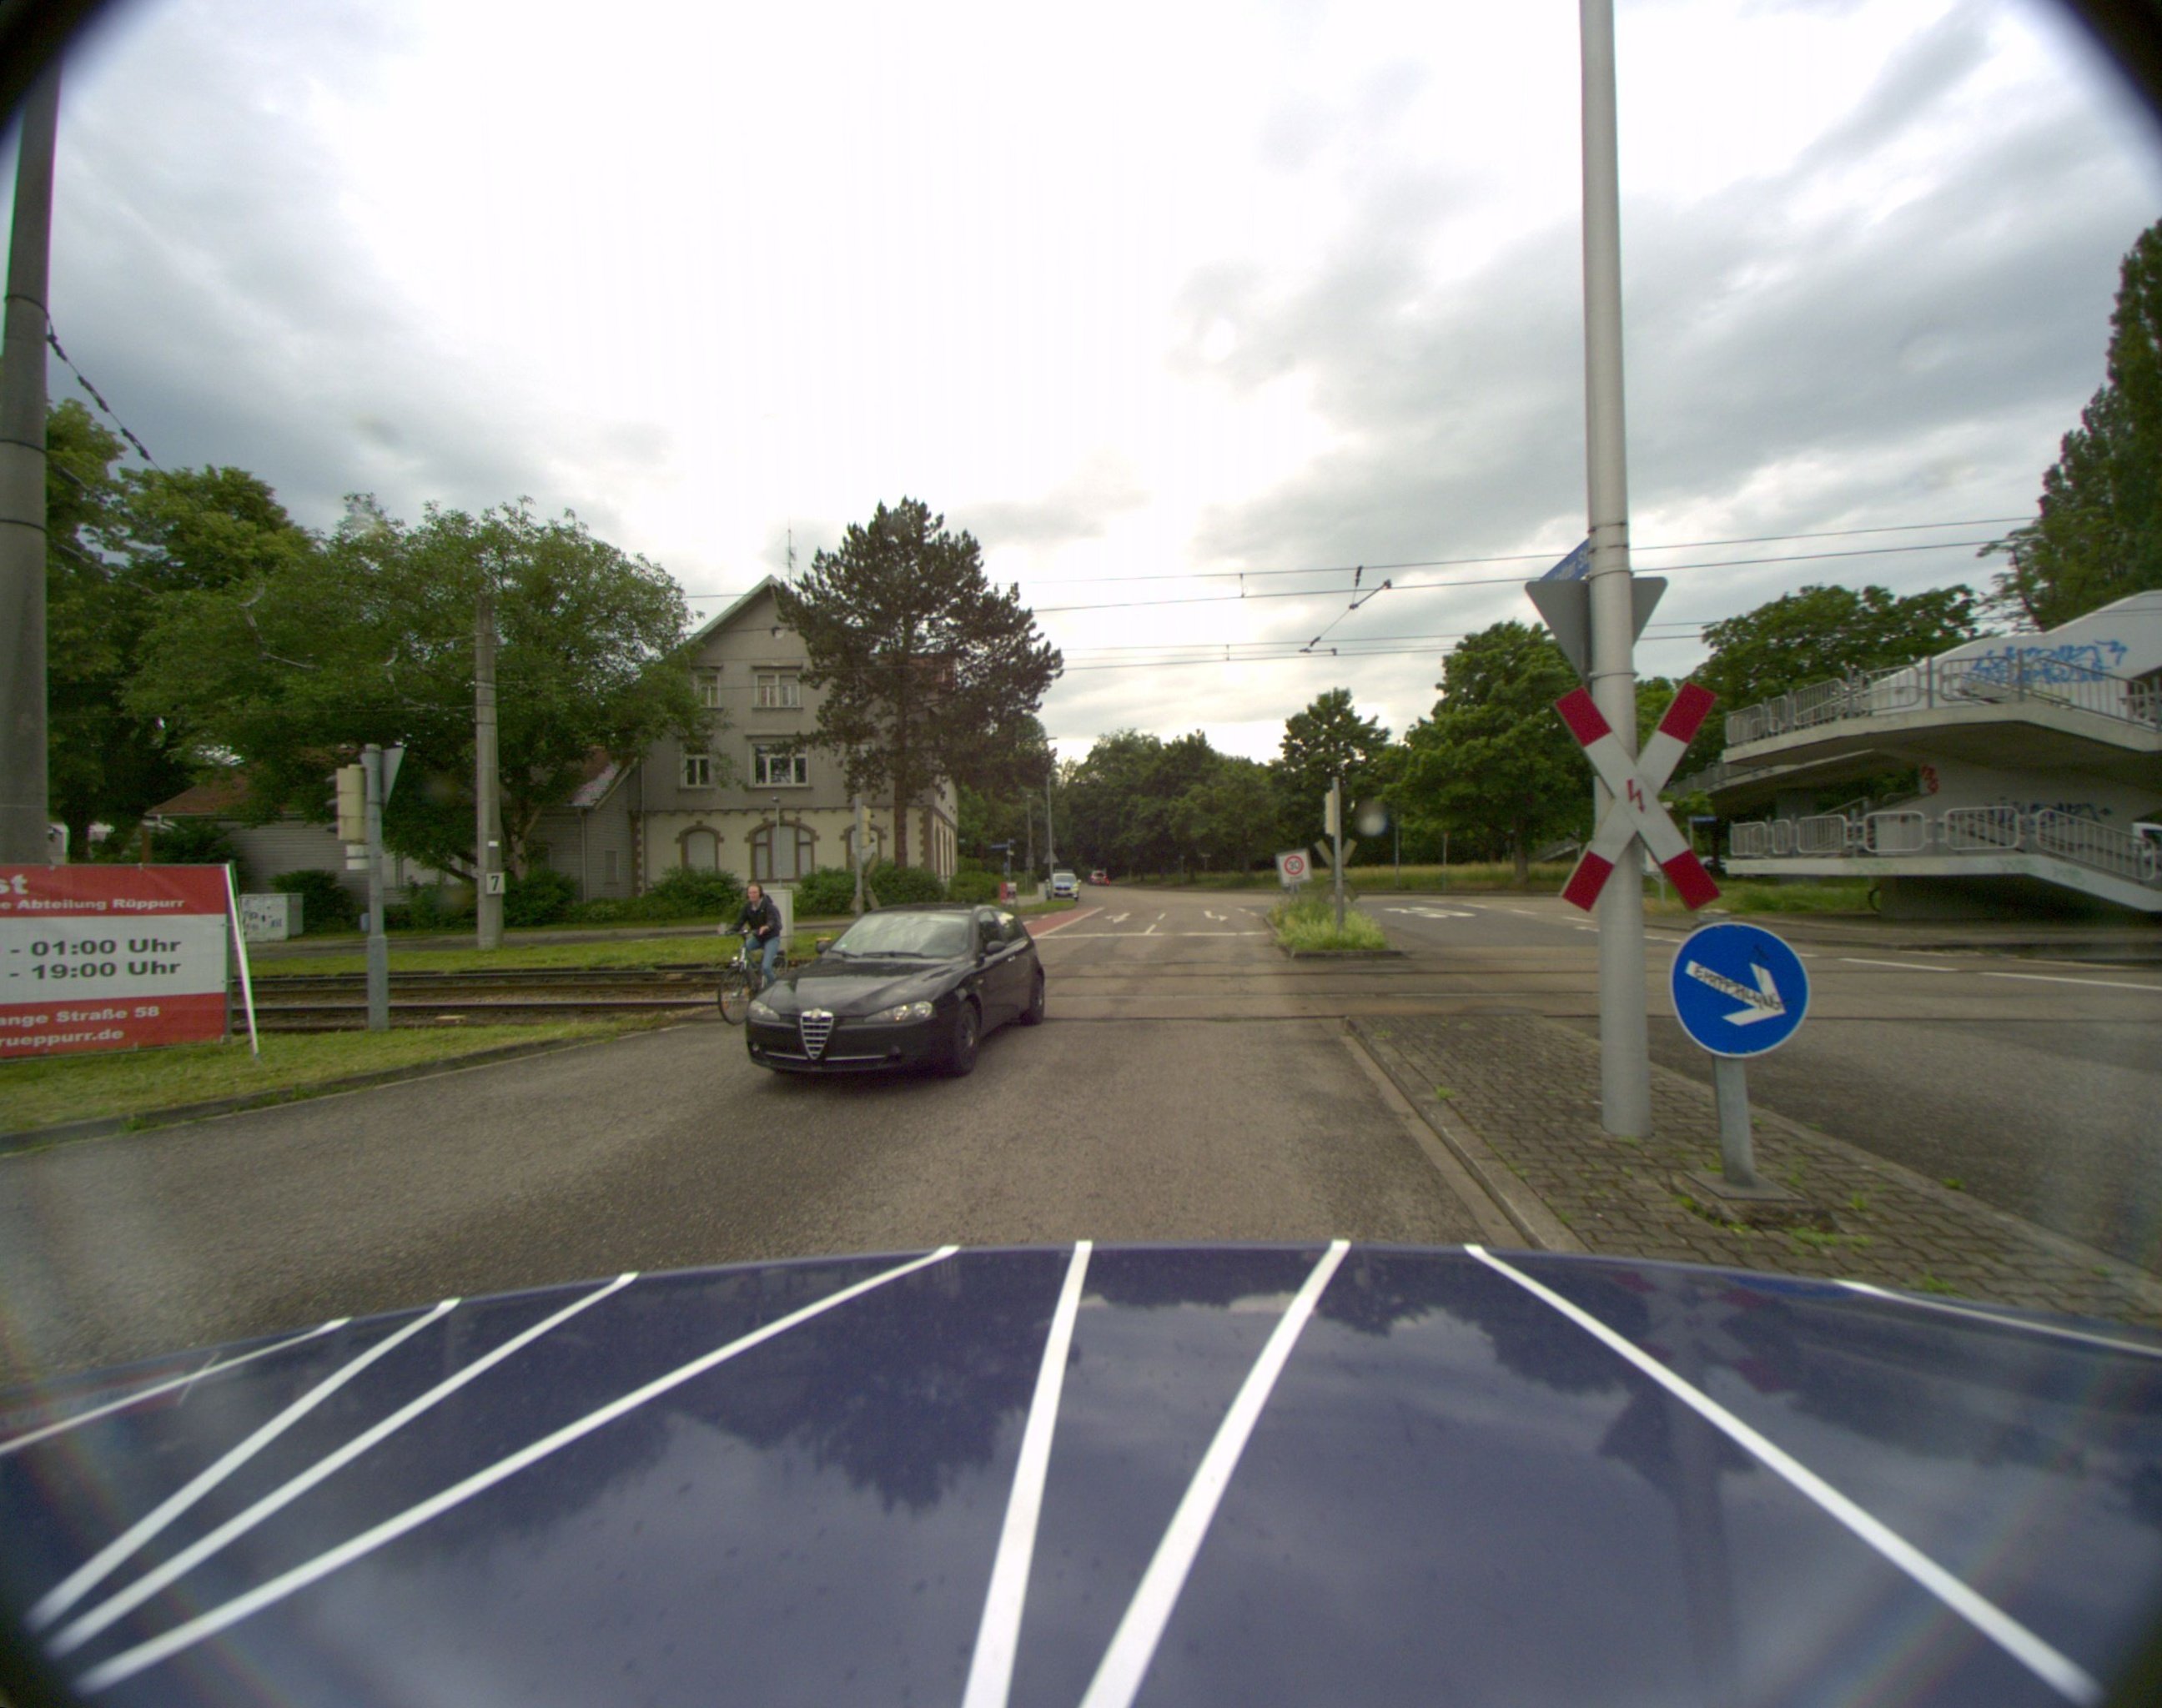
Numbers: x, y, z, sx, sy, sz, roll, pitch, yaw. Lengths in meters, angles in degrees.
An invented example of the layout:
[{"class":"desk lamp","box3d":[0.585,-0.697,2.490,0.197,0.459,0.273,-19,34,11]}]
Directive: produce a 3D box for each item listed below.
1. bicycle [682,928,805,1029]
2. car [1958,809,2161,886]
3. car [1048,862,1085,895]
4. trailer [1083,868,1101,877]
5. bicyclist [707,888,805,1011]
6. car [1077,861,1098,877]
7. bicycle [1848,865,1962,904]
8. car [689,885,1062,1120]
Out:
[{"class":"bicycle","box3d":[-4.233,1.530,9.717,0.383,0.974,2.031,-2,-1,9]},{"class":"car","box3d":[31.531,-0.173,23.676,5.198,2.278,2.144,-1,-1,15]},{"class":"car","box3d":[-0.899,1.403,44.526,1.936,1.839,3.999,0,-1,-4]},{"class":"trailer","box3d":[1.243,2.116,88.000,1.572,0.980,3.462,-2,0,-9]},{"class":"bicyclist","box3d":[-4.138,1.192,9.738,0.622,1.416,0.962,-6,0,8]},{"class":"car","box3d":[0.809,1.761,91.823,2.094,1.846,4.220,-3,0,-5]},{"class":"bicycle","box3d":[19.098,0.712,17.652,1.738,0.880,0.395,-2,0,32]},{"class":"car","box3d":[-1.532,1.132,7.560,1.801,1.448,4.544,-2,-1,9]}]
